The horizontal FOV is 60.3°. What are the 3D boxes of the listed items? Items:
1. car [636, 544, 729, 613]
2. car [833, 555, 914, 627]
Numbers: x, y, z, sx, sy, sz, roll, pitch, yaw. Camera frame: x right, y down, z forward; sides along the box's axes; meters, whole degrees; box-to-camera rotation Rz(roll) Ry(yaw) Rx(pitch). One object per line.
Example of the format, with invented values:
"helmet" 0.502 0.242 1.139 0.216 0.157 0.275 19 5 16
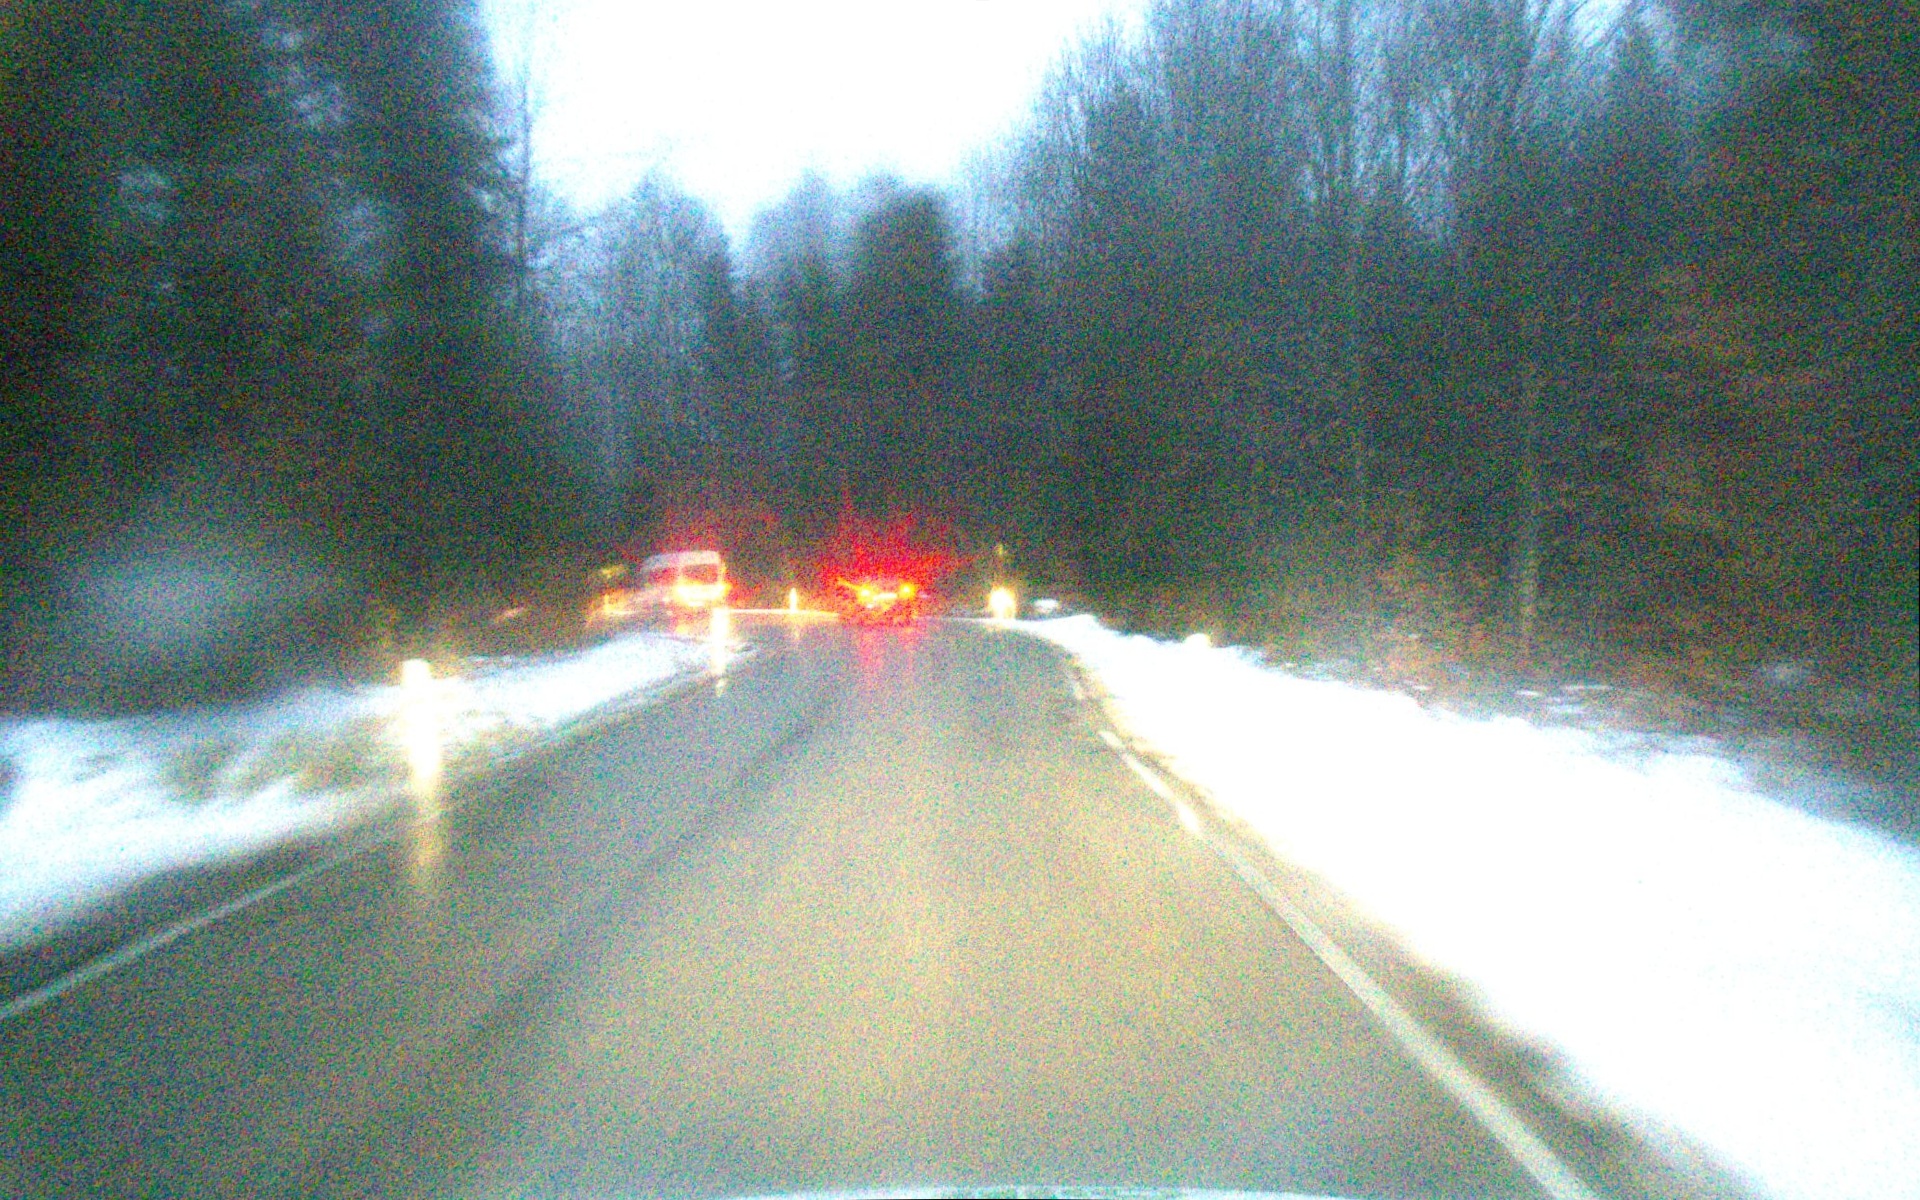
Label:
"car" -11.475 -0.870 68.046 2.227 2.691 4.959 -3 1 -28
"car" -2.694 -0.288 50.582 1.957 2.087 3.991 -1 1 -10
